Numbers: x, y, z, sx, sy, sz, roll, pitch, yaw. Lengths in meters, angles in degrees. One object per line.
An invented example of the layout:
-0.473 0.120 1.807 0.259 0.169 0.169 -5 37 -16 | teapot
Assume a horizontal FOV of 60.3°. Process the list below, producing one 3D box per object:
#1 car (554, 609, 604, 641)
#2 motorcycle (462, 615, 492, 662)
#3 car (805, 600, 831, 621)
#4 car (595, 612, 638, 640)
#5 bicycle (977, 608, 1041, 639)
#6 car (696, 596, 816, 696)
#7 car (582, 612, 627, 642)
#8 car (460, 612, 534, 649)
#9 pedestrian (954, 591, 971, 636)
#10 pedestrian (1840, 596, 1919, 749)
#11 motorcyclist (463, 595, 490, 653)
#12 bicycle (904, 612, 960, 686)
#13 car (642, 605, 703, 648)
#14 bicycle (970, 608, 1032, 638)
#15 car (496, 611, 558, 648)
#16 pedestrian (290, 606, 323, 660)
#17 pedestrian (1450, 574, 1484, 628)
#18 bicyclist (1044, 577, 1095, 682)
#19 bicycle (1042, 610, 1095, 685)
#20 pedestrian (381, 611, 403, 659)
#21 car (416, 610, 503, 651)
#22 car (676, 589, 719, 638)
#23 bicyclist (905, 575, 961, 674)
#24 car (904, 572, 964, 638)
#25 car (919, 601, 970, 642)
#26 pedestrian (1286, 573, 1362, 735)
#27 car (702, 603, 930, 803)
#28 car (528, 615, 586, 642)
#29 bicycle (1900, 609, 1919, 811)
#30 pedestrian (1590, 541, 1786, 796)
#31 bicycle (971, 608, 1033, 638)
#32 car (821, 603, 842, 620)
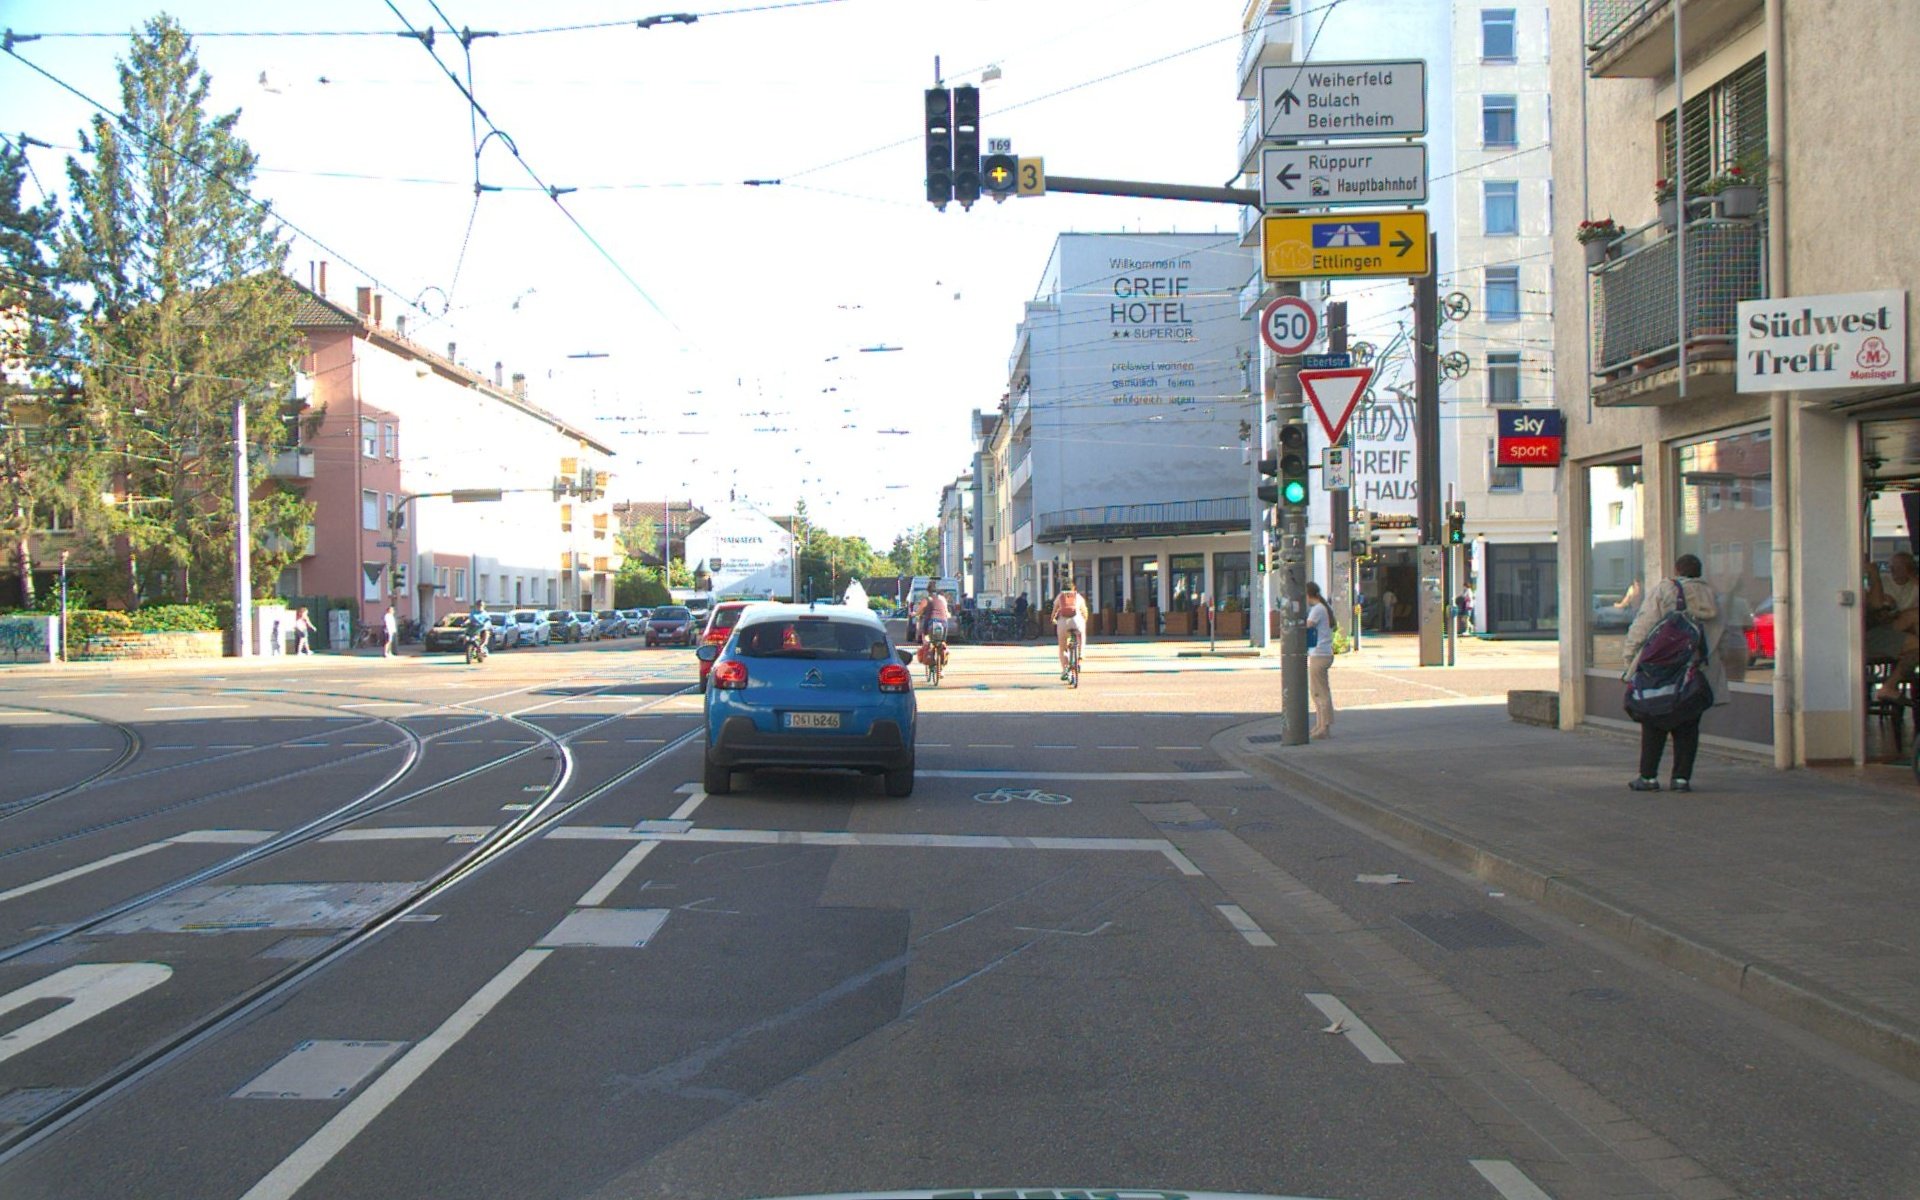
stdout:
-19.807 1.288 86.074 1.832 1.604 3.997 1 -1 -3 | car
-12.938 1.043 44.281 0.701 1.241 1.954 0 -2 -19 | motorcycle
-14.060 1.034 163.870 2.173 1.965 4.948 1 -1 -1 | car
-20.050 1.506 96.659 1.832 1.604 3.997 1 -1 -3 | car
1.757 0.833 59.229 2.206 1.019 0.856 -2 -1 -3 | bicycle
-3.426 0.739 28.387 1.749 1.548 3.760 1 0 -3 | car
-19.779 1.468 92.135 1.832 1.604 3.997 1 -1 -3 | car
-19.053 1.239 68.249 1.864 1.462 4.102 1 -1 0 | car
0.108 0.505 63.072 0.600 1.683 0.671 1 -1 0 | pedestrian
7.166 0.533 12.526 0.618 1.106 0.670 -2 0 -35 | pedestrian
-12.976 0.653 44.383 0.683 1.523 0.680 0 -2 -19 | motorcyclist
-0.483 0.842 29.324 0.921 1.245 2.094 1 -1 1 | bicycle
-10.644 0.963 61.483 1.743 1.512 3.826 -1 0 -3 | car
1.532 0.840 61.661 2.206 1.019 0.856 -2 -1 -3 | bicycle
-19.117 1.297 73.157 1.706 1.553 4.228 1 -1 -2 | car
-21.586 1.077 54.632 0.778 1.752 0.694 2 -1 -43 | pedestrian
16.826 0.033 54.895 0.888 1.777 0.737 1 -1 -2 | pedestrian
1.845 0.493 27.881 0.793 1.721 0.936 1 -1 6 | bicyclist
1.856 0.790 27.983 0.793 1.202 2.065 1 -1 6 | bicycle
-18.888 1.159 55.008 0.506 1.596 0.573 1 -1 -1 | pedestrian
-19.044 1.201 63.095 2.111 1.457 4.437 1 -2 -3 | car
-17.919 0.925 113.083 2.369 3.197 3.487 1 -1 -1 | car
-0.469 0.435 29.340 0.921 1.702 1.079 1 -1 0 | bicyclist
-1.096 0.211 66.261 2.220 2.525 5.005 0 -1 -3 | car
-0.619 0.780 61.286 1.625 1.456 3.885 1 -1 -4 | car
3.891 0.570 17.639 0.528 1.652 0.733 -6 -3 23 | pedestrian
-1.328 0.773 14.185 1.704 1.478 3.655 0 0 -8 | car
-19.434 1.350 79.857 1.908 1.261 4.280 1 -1 -3 | car
5.863 0.631 8.958 0.486 1.182 1.776 0 -1 -1 | bicycle
4.921 0.441 11.227 0.868 1.619 0.810 -3 1 -6 | pedestrian
1.530 0.832 60.536 2.206 1.019 0.856 -2 -1 -3 | bicycle
-14.084 1.277 181.636 2.032 1.793 5.035 1 -1 -1 | car
